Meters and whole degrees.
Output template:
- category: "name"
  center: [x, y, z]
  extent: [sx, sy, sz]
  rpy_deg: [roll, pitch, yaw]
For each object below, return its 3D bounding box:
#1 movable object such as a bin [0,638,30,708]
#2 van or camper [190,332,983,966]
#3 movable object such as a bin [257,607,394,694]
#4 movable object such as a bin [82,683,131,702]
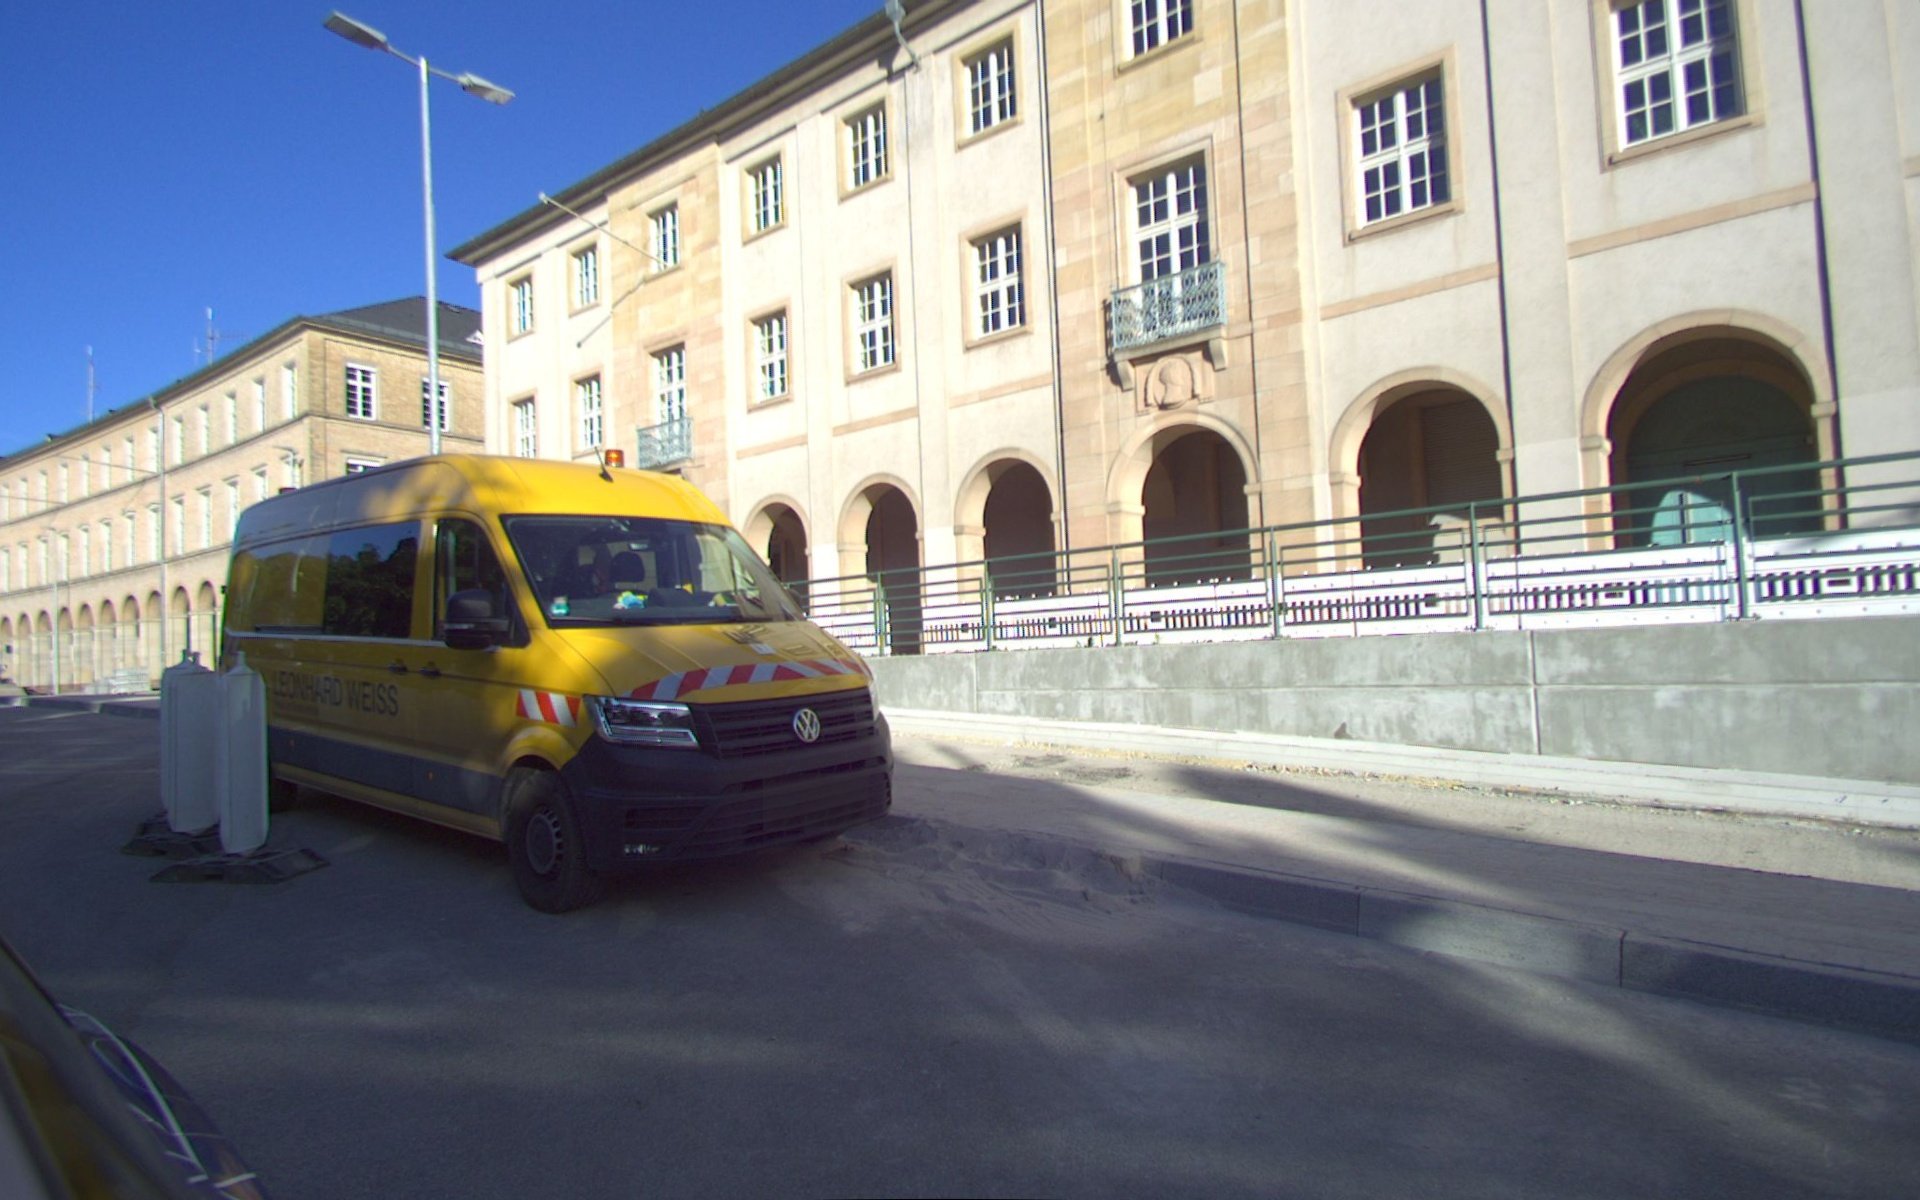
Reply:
- category: "movable object such as a bin"
  center: [-35.987, 2.737, 36.925]
  extent: [4.519, 2.472, 1.777]
  rpy_deg: [-4, -4, 31]
- category: "van or camper"
  center: [-3.203, 0.253, 7.238]
  extent: [6.819, 2.632, 2.172]
  rpy_deg: [-2, 0, 40]
- category: "movable object such as a bin"
  center: [-18.869, 1.546, 30.035]
  extent: [4.302, 2.414, 2.079]
  rpy_deg: [-4, -5, 38]
- category: "movable object such as a bin"
  center: [-34.165, 3.705, 40.530]
  extent: [1.236, 0.703, 1.178]
  rpy_deg: [-4, -4, 32]
